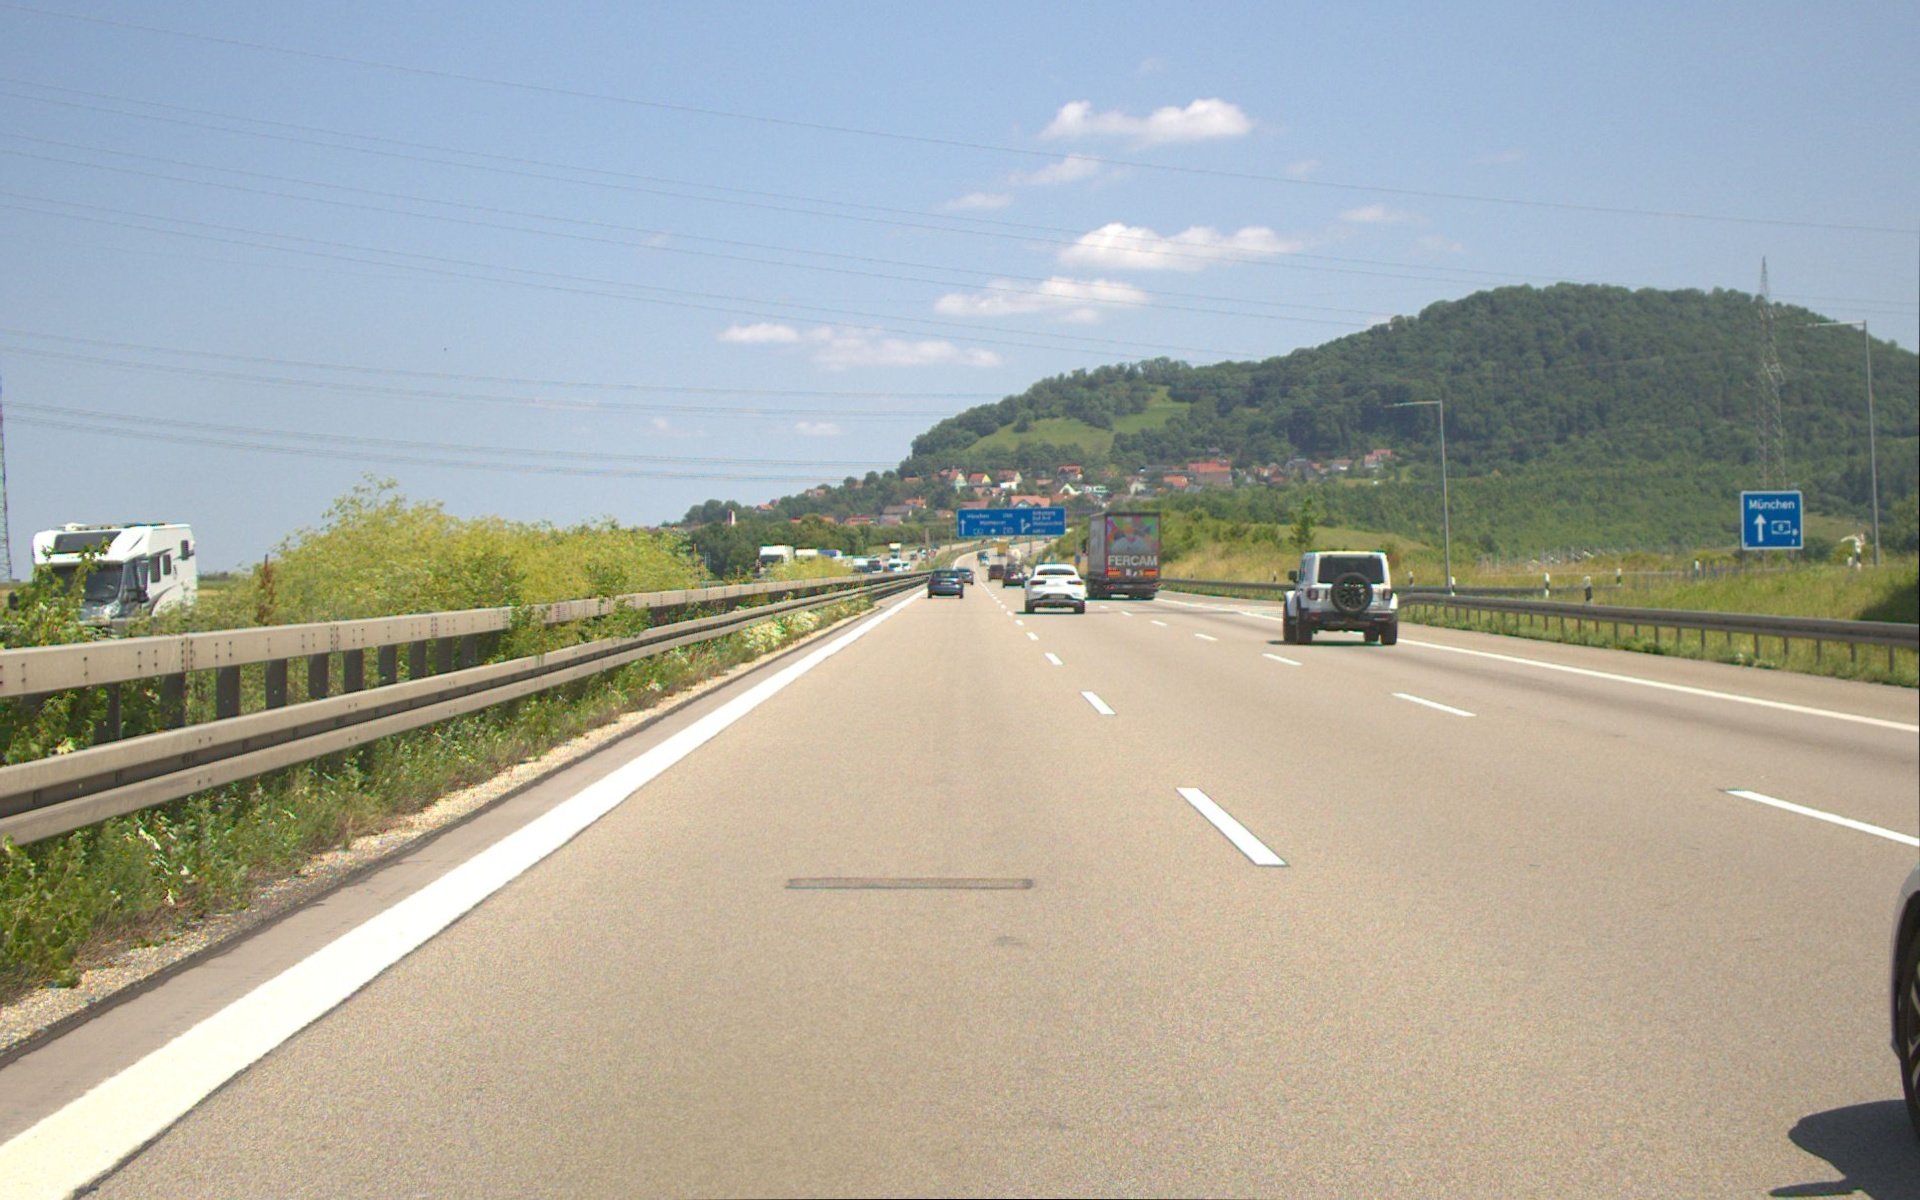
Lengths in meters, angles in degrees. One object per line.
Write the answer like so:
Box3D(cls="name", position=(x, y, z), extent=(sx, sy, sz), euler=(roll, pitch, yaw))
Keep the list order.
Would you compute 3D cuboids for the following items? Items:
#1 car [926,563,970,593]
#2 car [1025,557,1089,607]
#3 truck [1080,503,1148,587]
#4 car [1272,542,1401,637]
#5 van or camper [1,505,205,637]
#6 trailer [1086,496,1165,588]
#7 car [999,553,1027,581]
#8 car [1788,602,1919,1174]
Box3D(cls="car", position=(-0.541, -1.017, 161.989), extent=(1.993, 1.384, 4.000), euler=(1, 0, 1))
Box3D(cls="car", position=(3.137, -0.578, 112.314), extent=(1.914, 1.575, 5.231), euler=(1, 0, 0))
Box3D(cls="truck", position=(7.531, -2.659, 169.142), extent=(2.752, 4.007, 6.789), euler=(1, 0, -2))
Box3D(cls="car", position=(7.458, -0.206, 68.499), extent=(2.034, 1.798, 4.250), euler=(1, 0, -1))
Box3D(cls="van or camper", position=(-17.286, -0.523, 69.745), extent=(2.535, 2.527, 6.709), euler=(0, -1, -1))
Box3D(cls="trailer", position=(7.758, -2.680, 162.686), extent=(2.725, 4.141, 11.809), euler=(1, 0, -2))
Box3D(cls="car", position=(3.845, -2.396, 250.675), extent=(1.993, 2.007, 4.000), euler=(1, 0, 1))
Box3D(cls="car", position=(3.311, 0.738, 7.582), extent=(1.776, 1.428, 4.691), euler=(1, 0, -1))
